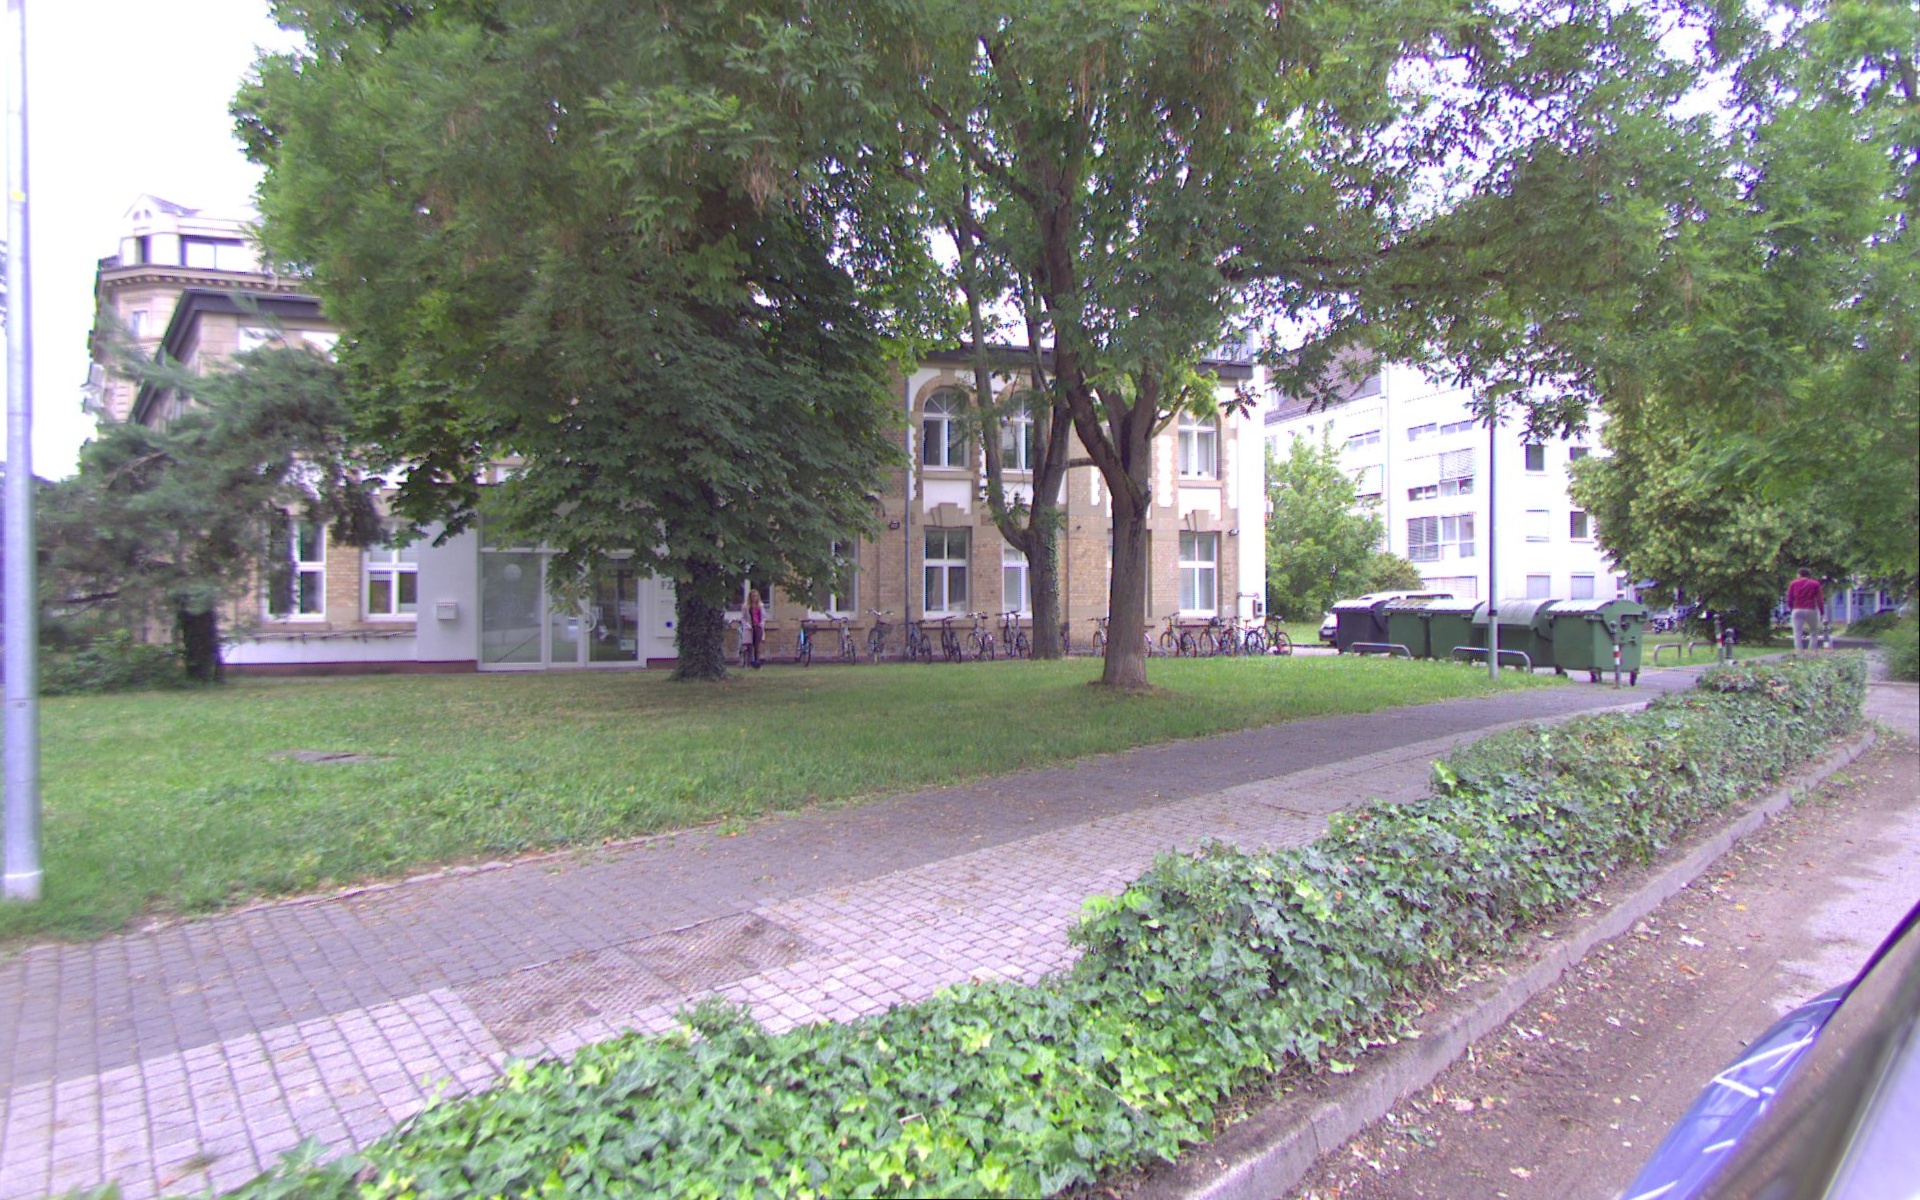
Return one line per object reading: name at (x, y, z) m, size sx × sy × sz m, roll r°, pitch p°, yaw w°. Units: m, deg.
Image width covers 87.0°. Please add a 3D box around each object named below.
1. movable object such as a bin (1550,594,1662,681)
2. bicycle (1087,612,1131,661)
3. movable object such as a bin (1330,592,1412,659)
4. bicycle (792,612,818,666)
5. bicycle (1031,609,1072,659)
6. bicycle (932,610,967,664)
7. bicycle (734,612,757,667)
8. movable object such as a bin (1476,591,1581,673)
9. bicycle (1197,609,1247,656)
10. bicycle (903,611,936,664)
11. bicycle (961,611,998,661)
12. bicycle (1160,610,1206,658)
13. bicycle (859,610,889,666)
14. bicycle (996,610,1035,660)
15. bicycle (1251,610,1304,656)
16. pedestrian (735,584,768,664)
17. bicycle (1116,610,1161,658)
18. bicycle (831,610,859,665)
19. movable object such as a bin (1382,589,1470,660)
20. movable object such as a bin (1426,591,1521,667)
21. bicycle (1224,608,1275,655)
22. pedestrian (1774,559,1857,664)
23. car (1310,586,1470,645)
movable object such as a bin at (11.143, 0.620, 17.508) m, size 1.050 × 1.452 × 1.276 m, roll 0°, pitch 0°, yaw -6°
bicycle at (3.627, 0.877, 24.684) m, size 0.451 × 1.129 × 1.748 m, roll 0°, pitch 0°, yaw -13°
movable object such as a bin at (9.396, 0.563, 23.181) m, size 1.085 × 1.469 × 1.365 m, roll 0°, pitch -1°, yaw -20°
bicycle at (-3.462, 0.847, 22.577) m, size 0.451 × 1.129 × 1.748 m, roll 0°, pitch 0°, yaw -13°
bicycle at (2.185, 0.794, 24.284) m, size 0.451 × 1.129 × 1.748 m, roll 0°, pitch 0°, yaw -13°
bicycle at (-0.265, 0.849, 23.642) m, size 0.451 × 1.128 × 1.749 m, roll 0°, pitch 2°, yaw -13°
bicycle at (-4.720, 0.840, 22.225) m, size 0.451 × 1.129 × 1.748 m, roll 0°, pitch 0°, yaw -13°
movable object such as a bin at (10.595, 0.573, 18.892) m, size 1.085 × 1.469 × 1.288 m, roll 0°, pitch -1°, yaw -20°
bicycle at (6.580, 0.794, 25.479) m, size 0.451 × 1.129 × 1.748 m, roll 0°, pitch 0°, yaw -13°
bicycle at (-0.950, 0.835, 23.463) m, size 0.451 × 1.128 × 1.748 m, roll 0°, pitch 1°, yaw -13°
bicycle at (0.446, 0.834, 23.916) m, size 0.451 × 1.129 × 1.748 m, roll 0°, pitch 0°, yaw -13°
bicycle at (5.547, 0.826, 25.232) m, size 0.451 × 1.129 × 1.747 m, roll 0°, pitch 0°, yaw -11°
bicycle at (-1.974, 0.835, 23.106) m, size 0.451 × 1.128 × 1.749 m, roll 0°, pitch 3°, yaw -13°
bicycle at (1.304, 0.811, 24.147) m, size 0.451 × 1.129 × 1.748 m, roll 0°, pitch 0°, yaw -13°
bicycle at (8.113, 0.823, 25.927) m, size 0.451 × 1.129 × 1.748 m, roll 0°, pitch 0°, yaw -14°
pedestrian at (-4.253, 0.478, 20.622) m, size 0.614 × 1.607 × 0.605 m, roll 0°, pitch -1°, yaw -15°
bicycle at (4.382, 0.820, 24.925) m, size 0.451 × 1.129 × 1.748 m, roll 0°, pitch 0°, yaw -13°
bicycle at (-2.615, 0.829, 22.942) m, size 0.451 × 1.128 × 1.748 m, roll 0°, pitch 2°, yaw -13°
movable object such as a bin at (10.017, 0.509, 21.795) m, size 1.085 × 1.469 × 1.329 m, roll 0°, pitch -1°, yaw -20°
movable object such as a bin at (10.322, 0.563, 20.391) m, size 1.085 × 1.469 × 1.297 m, roll 0°, pitch -1°, yaw -20°
bicycle at (7.338, 0.778, 25.754) m, size 0.451 × 1.129 × 1.748 m, roll 0°, pitch 0°, yaw -13°
pedestrian at (17.529, 0.234, 20.748) m, size 1.176 × 2.090 × 0.796 m, roll 0°, pitch -1°, yaw -19°
car at (14.524, 0.543, 34.280) m, size 4.673 × 1.898 × 1.904 m, roll 0°, pitch -3°, yaw -13°
